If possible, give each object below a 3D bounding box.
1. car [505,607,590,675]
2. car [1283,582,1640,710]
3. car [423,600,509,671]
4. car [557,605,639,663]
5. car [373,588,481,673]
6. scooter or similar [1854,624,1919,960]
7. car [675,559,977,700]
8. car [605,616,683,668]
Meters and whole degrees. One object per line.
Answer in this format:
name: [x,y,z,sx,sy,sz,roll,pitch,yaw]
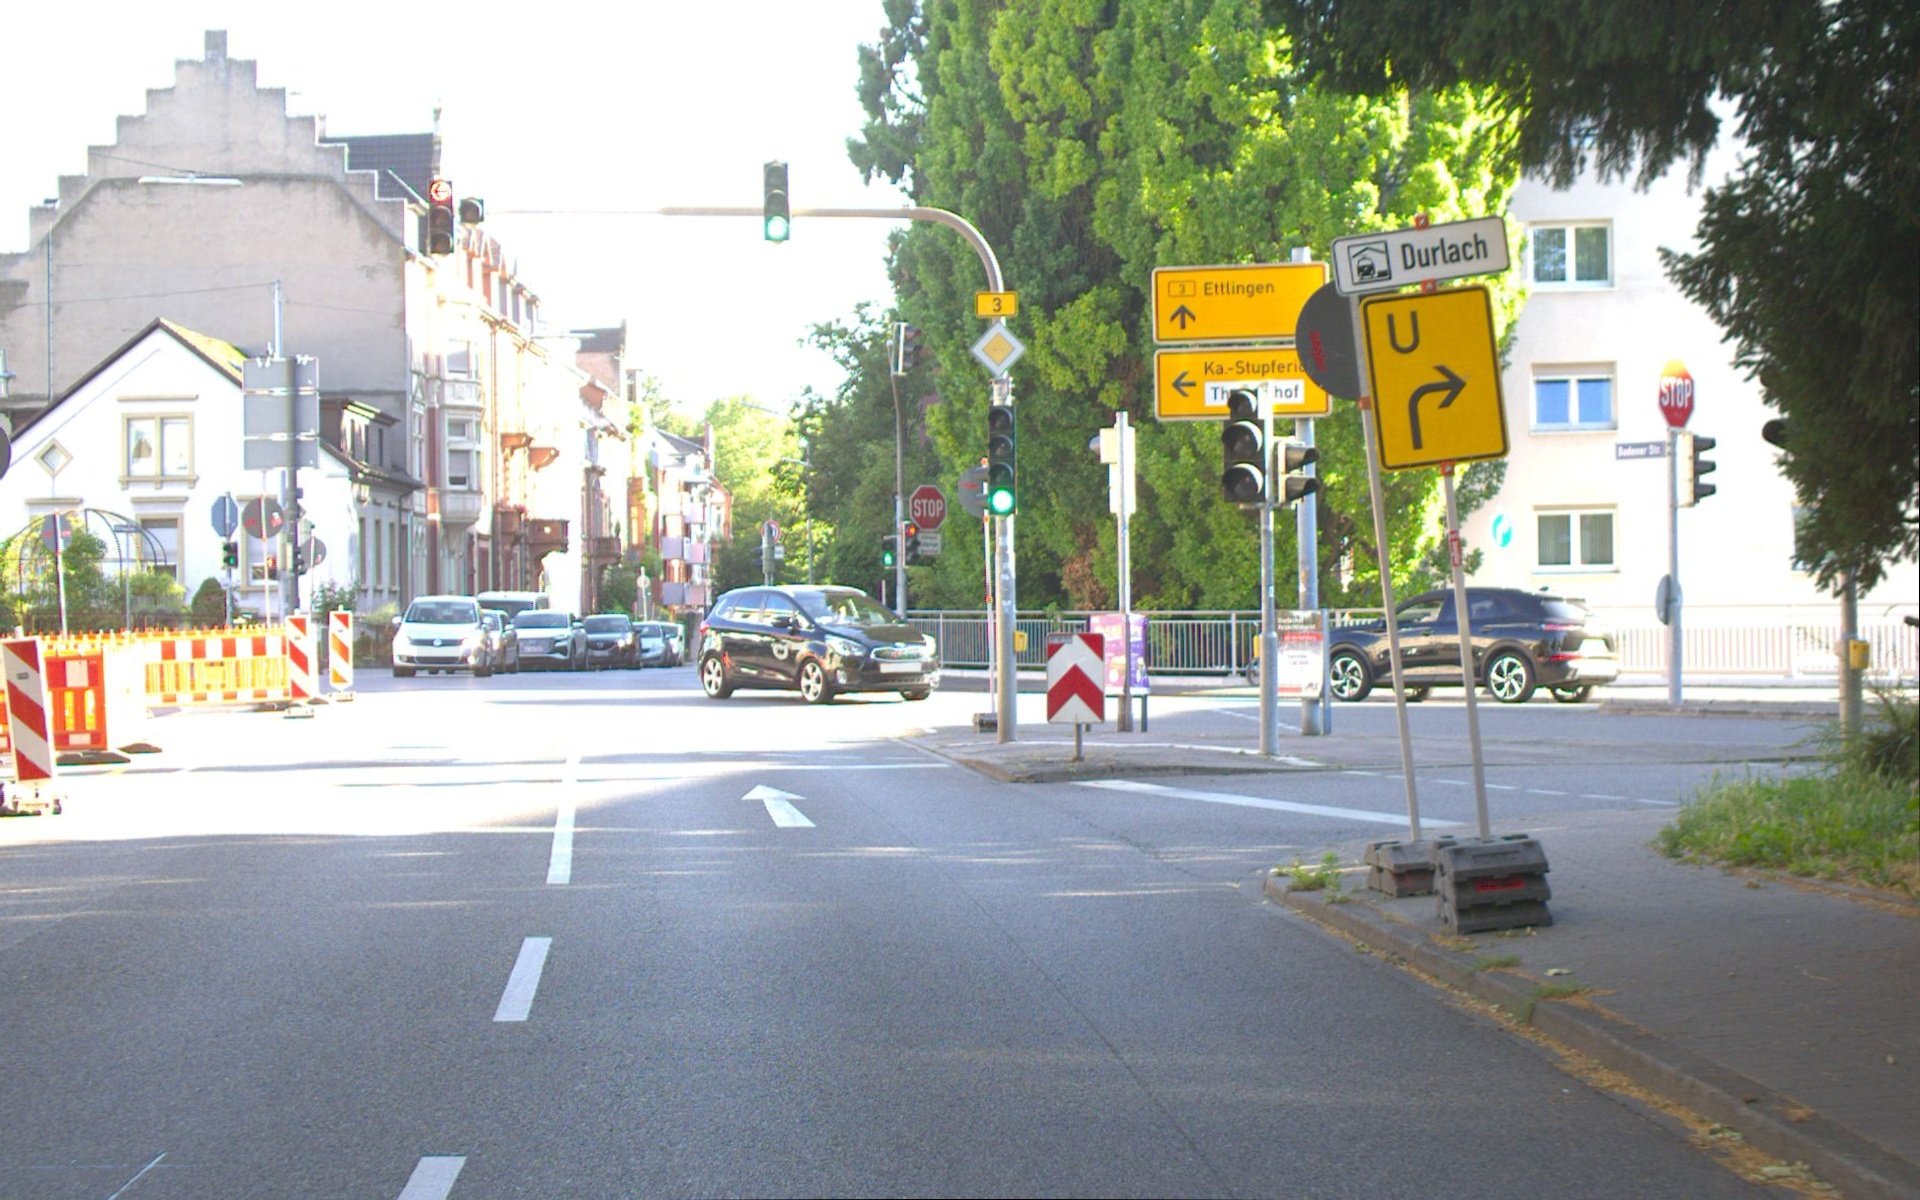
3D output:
car: [-10.498,1.027,87.754,1.775,1.643,4.534,1,0,-3]
car: [7.110,0.653,49.016,4.660,1.665,1.995,0,-4,41]
car: [-10.896,0.777,76.002,1.775,1.475,4.097,1,0,-7]
car: [-10.651,0.998,101.449,1.953,1.643,4.283,1,0,0]
car: [-10.330,0.580,66.493,1.775,1.538,4.001,1,0,-12]
scooter or similar: [3.641,0.687,12.395,0.438,1.198,1.258,-3,0,-1]
car: [-1.909,0.364,47.828,1.994,1.809,4.250,-3,2,-39]
car: [-10.509,1.393,114.647,1.953,1.643,4.282,1,0,3]
